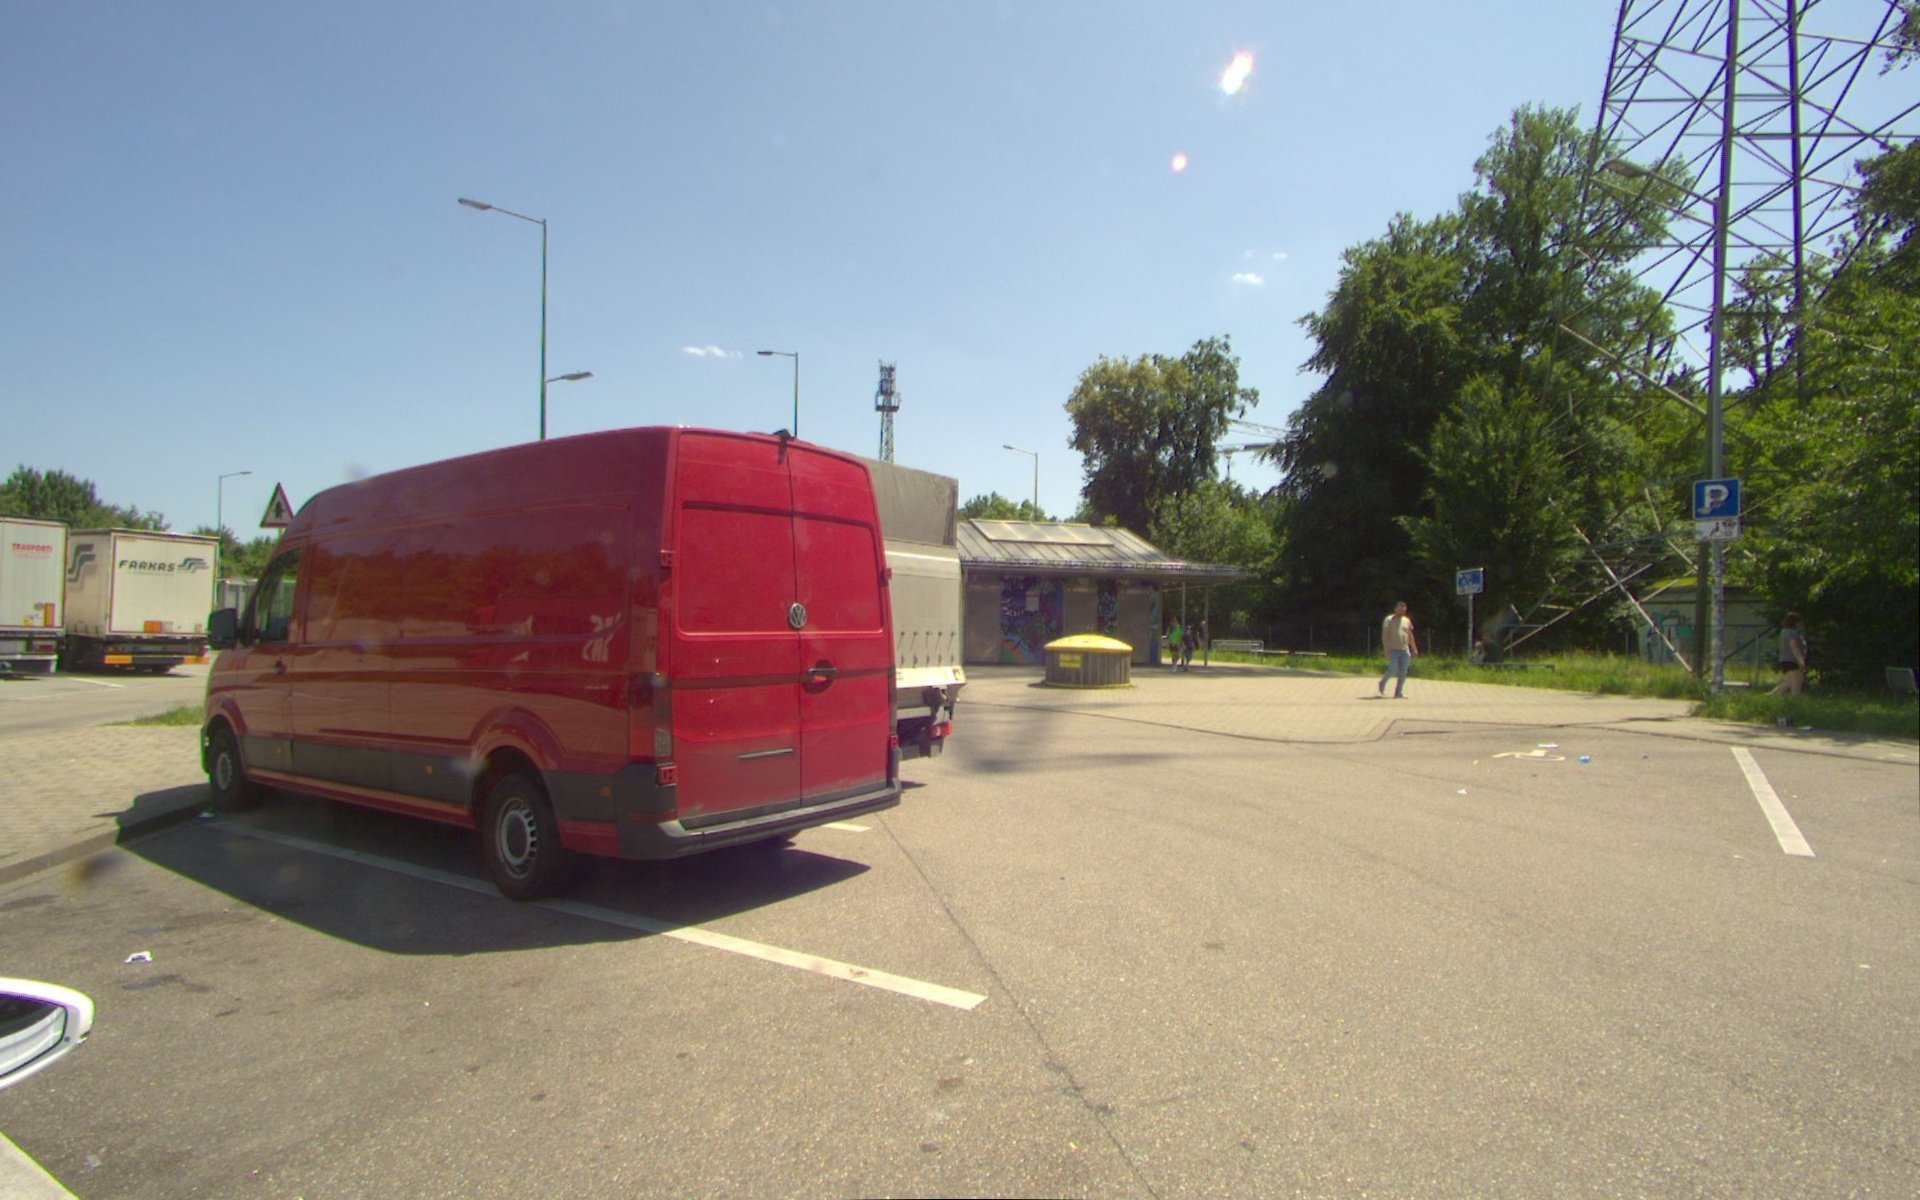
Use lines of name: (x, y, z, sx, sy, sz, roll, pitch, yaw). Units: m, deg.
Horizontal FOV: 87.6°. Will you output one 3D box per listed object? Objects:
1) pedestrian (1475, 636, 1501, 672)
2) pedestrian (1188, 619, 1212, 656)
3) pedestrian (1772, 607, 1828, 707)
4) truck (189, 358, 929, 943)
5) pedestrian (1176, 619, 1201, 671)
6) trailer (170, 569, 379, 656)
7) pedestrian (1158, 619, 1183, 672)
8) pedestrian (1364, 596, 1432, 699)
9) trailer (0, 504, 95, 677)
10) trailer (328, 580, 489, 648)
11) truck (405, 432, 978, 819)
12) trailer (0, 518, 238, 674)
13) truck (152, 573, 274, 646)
pedestrian: (14.648, 1.490, 27.802, 0.439, 0.987, 0.460, 0, -1, -19)
pedestrian: (10.663, 1.665, 44.534, 0.802, 1.639, 0.917, -1, -1, 30)
pedestrian: (14.490, 0.973, 17.294, 0.707, 1.670, 0.682, -1, -1, 40)
truck: (-3.332, 0.305, 7.321, 6.372, 2.685, 2.005, -1, -2, 37)
pedestrian: (6.184, 1.211, 27.078, 0.532, 1.392, 0.583, 0, -1, 0)
trailer: (-32.472, 0.486, 47.082, 13.561, 3.646, 2.854, 1, -2, 32)
pedestrian: (5.585, 1.200, 26.569, 0.532, 1.392, 0.583, 0, -1, 0)
pedestrian: (8.437, 0.904, 19.311, 0.799, 1.929, 0.920, 0, -1, -15)
trailer: (-28.683, -0.337, 28.004, 13.561, 4.162, 2.854, 1, -2, 32)
trailer: (-36.166, 0.844, 65.321, 13.561, 3.955, 2.854, 1, -2, 32)
truck: (-3.081, 0.276, 10.505, 6.372, 2.944, 2.411, -1, -2, 37)
trailer: (-27.610, -0.165, 31.592, 13.561, 4.162, 2.854, 1, -2, 32)
truck: (-37.544, 0.477, 50.305, 5.887, 3.406, 2.862, 1, -2, 32)
